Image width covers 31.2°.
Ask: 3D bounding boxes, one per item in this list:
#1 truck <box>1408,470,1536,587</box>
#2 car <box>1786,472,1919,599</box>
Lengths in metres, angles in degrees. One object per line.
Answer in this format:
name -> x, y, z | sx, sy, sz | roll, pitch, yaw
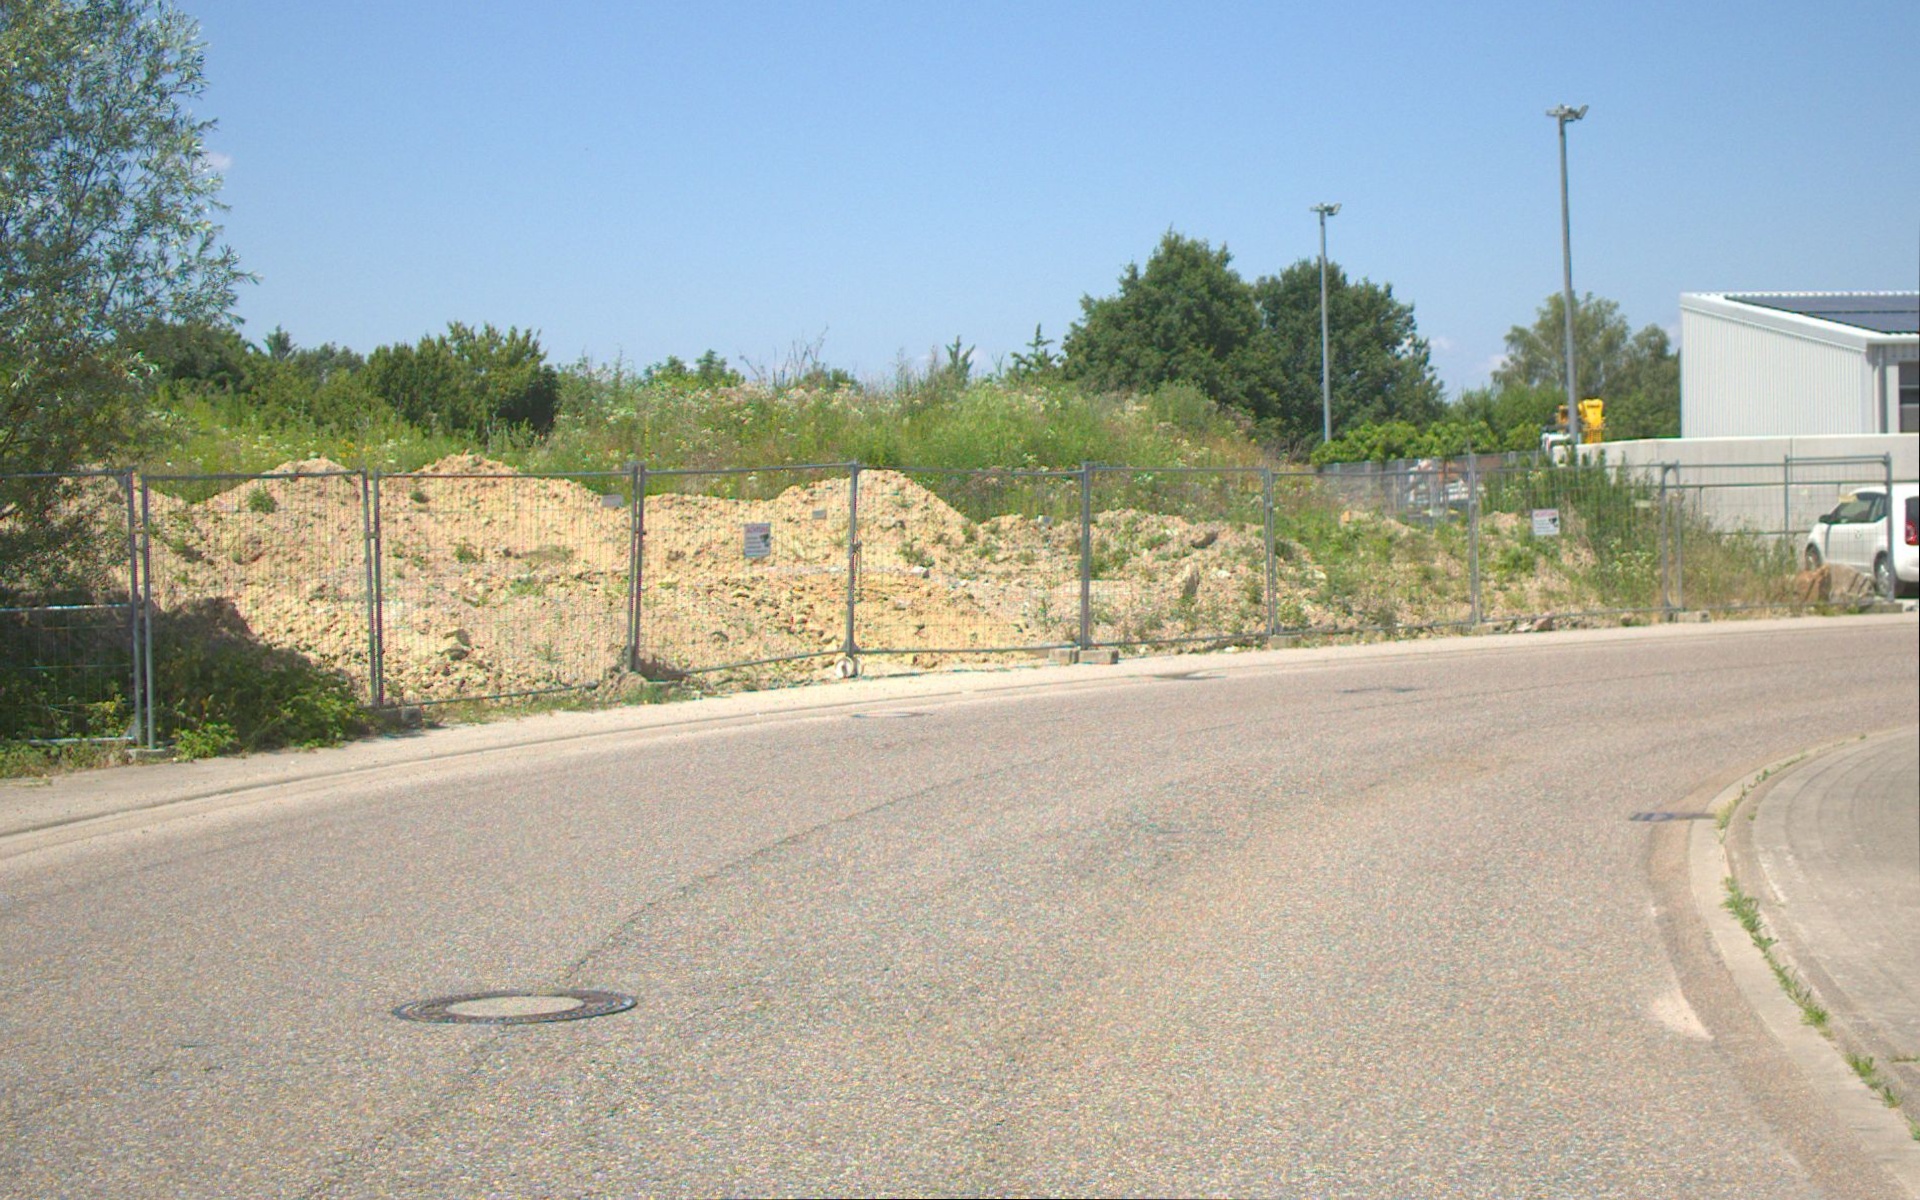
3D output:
truck -> 13.512, -1.880, 91.029 | 1.993, 2.974, 4.646 | -2, 1, -8
car -> 12.948, -0.917, 47.237 | 1.782, 1.493, 3.704 | -2, 4, -10
